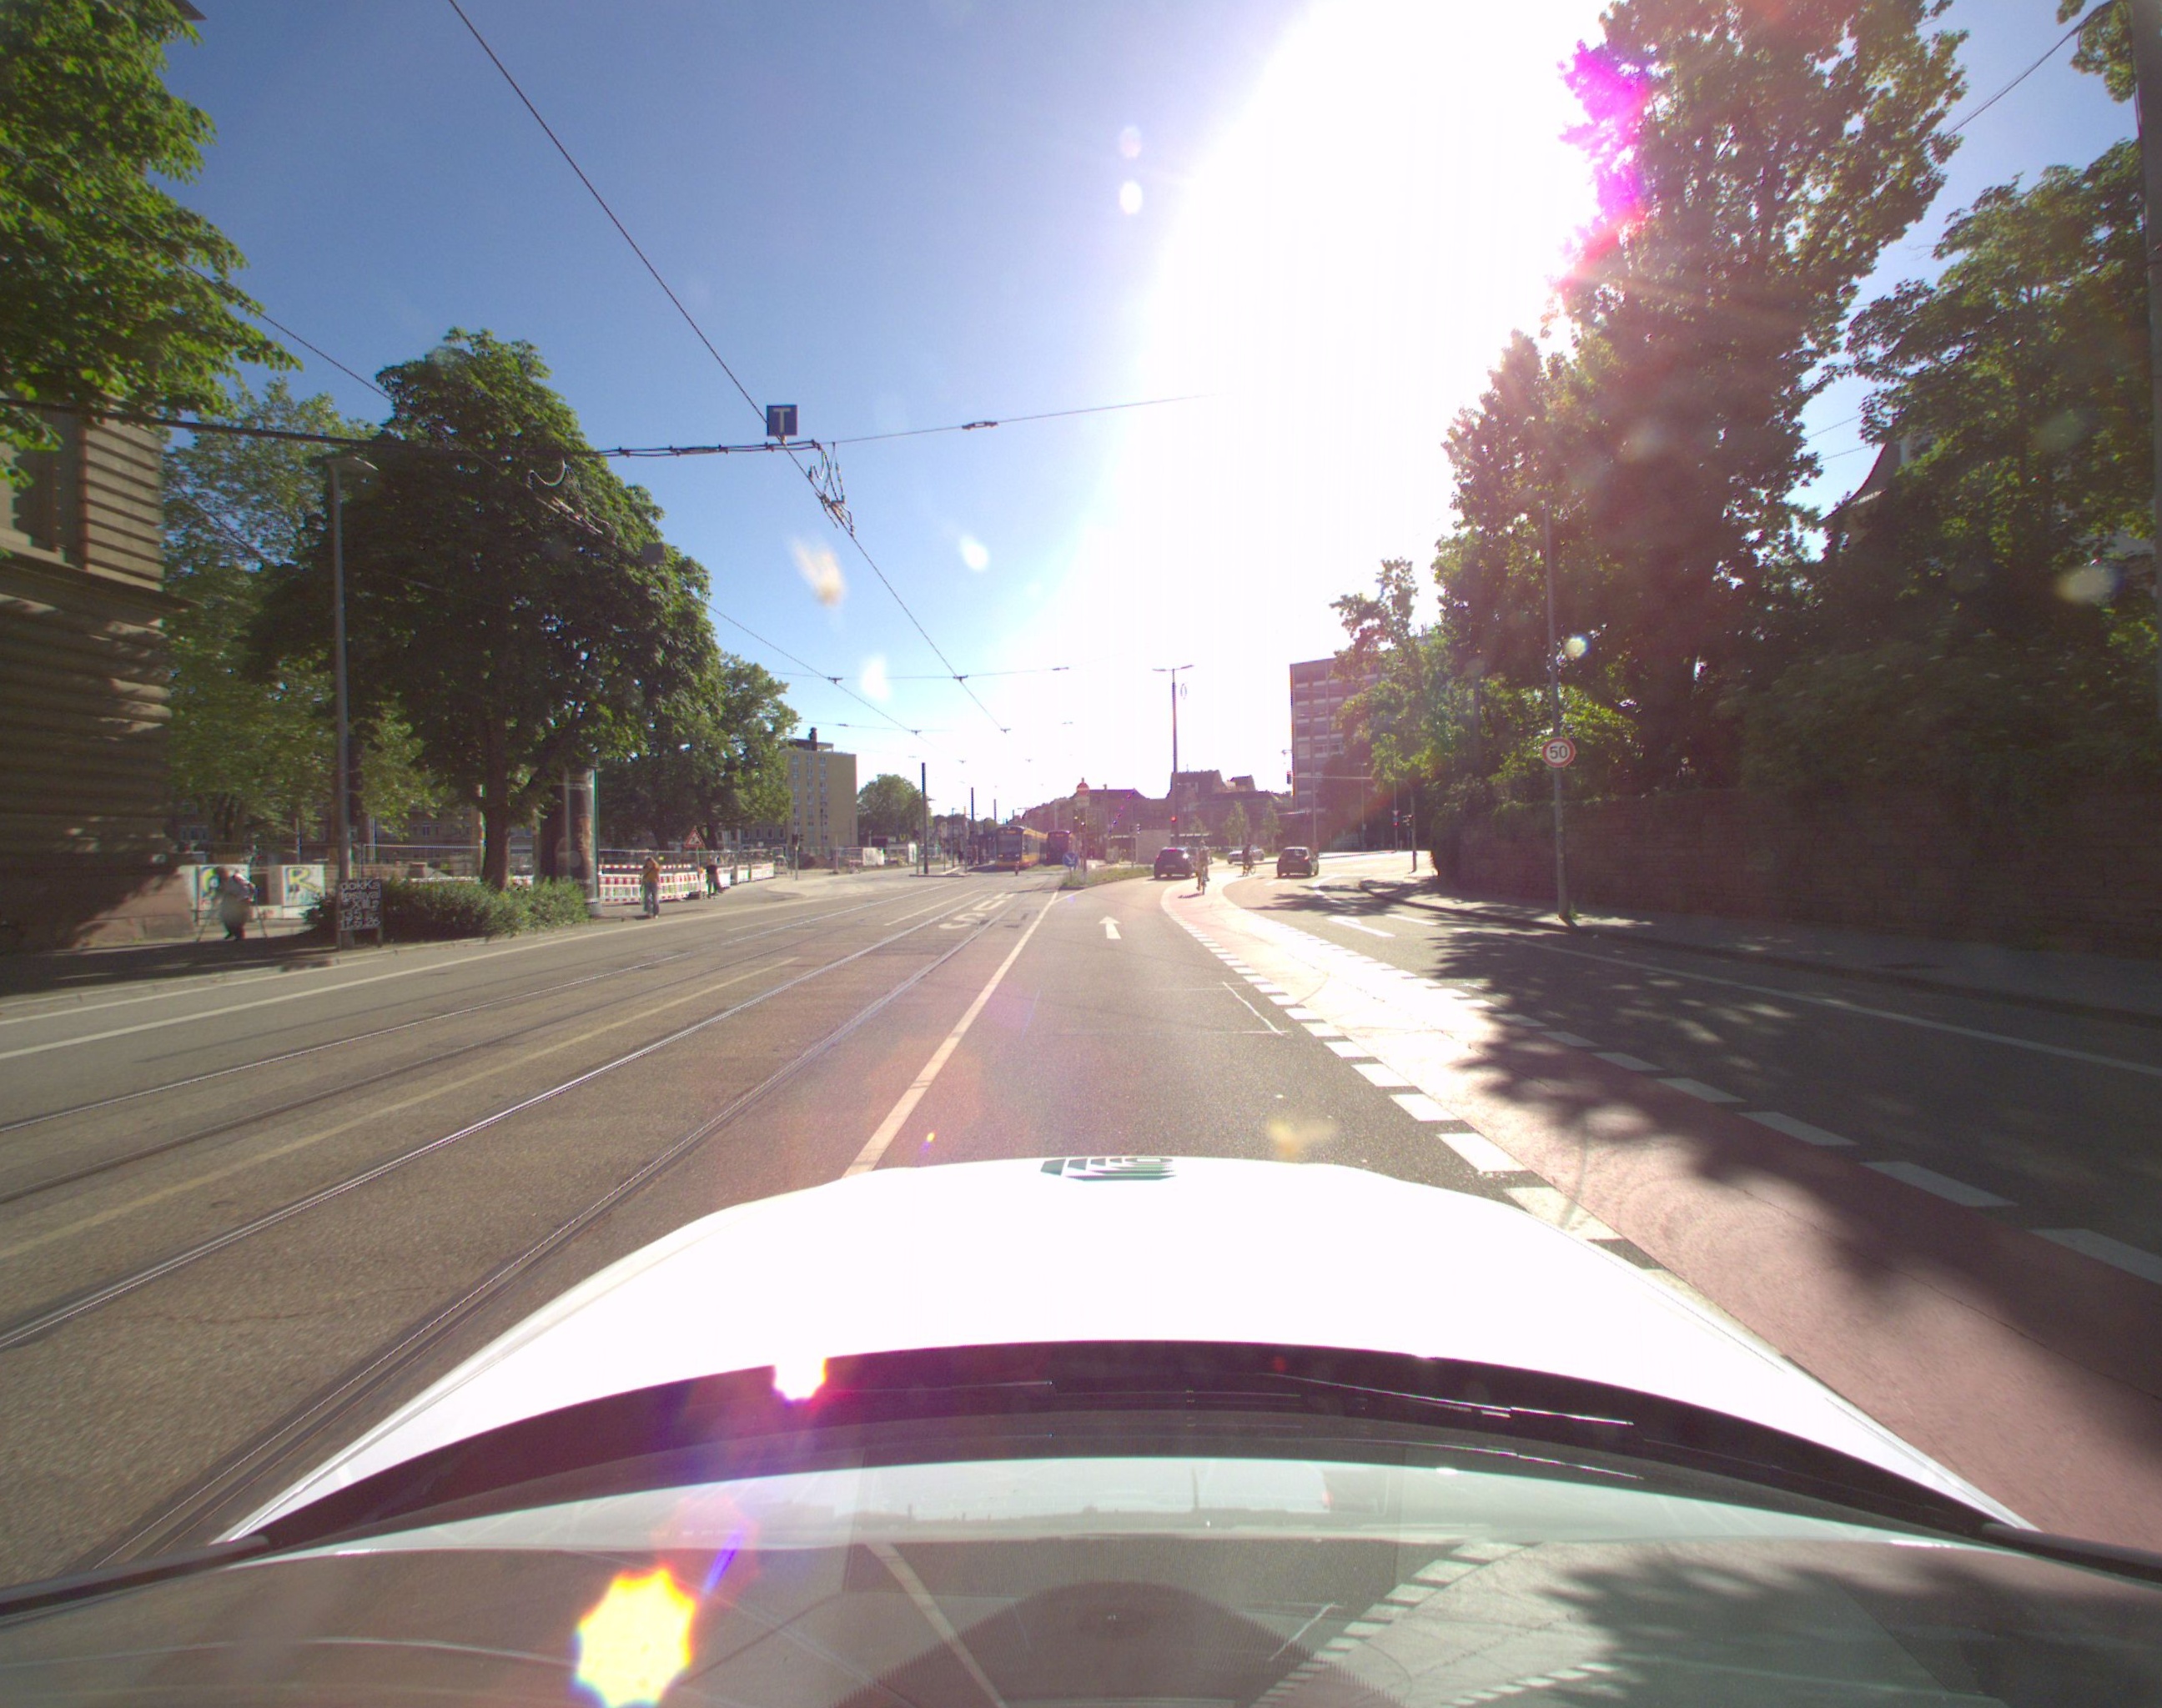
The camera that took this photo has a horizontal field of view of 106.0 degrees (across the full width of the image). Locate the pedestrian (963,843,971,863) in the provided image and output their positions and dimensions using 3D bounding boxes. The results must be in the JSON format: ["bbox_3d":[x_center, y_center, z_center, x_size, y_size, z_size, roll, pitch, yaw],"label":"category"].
[{"bbox_3d":[-10.727,-0.116,76.807,0.624,1.827,0.662,-1,0,-1],"label":"pedestrian"}]

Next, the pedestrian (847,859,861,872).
[{"bbox_3d":[-18.215,0.929,65.324,0.894,1.046,0.655,-1,0,1],"label":"pedestrian"}]

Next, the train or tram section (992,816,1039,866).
[{"bbox_3d":[-5.250,-1.065,67.495,2.733,3.651,13.783,-1,1,0],"label":"train or tram section"}]

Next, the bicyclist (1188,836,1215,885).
[{"bbox_3d":[4.236,0.226,28.563,0.699,1.675,1.107,0,1,20],"label":"bicyclist"}]

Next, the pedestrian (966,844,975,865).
[{"bbox_3d":[-9.593,0.030,70.658,0.624,1.827,0.662,-1,0,-1],"label":"pedestrian"}]

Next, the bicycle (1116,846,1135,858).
[{"bbox_3d":[4.548,-0.207,83.623,1.929,1.103,0.598,-1,1,-2],"label":"bicycle"}]

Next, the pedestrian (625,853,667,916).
[{"bbox_3d":[-12.054,0.831,22.578,0.633,1.697,0.819,-3,0,1],"label":"pedestrian"}]

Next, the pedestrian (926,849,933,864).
[{"bbox_3d":[-17.343,0.268,93.133,0.624,1.697,0.662,-1,0,-1],"label":"pedestrian"}]

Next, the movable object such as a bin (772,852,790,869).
[{"bbox_3d":[-36.344,0.806,98.665,1.926,2.013,3.970,-1,0,-22],"label":"movable object such as a bin"}]

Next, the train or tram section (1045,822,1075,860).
[{"bbox_3d":[-2.105,-1.345,85.316,2.733,3.651,13.783,-1,1,0],"label":"train or tram section"}]

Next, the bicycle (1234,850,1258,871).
[{"bbox_3d":[8.859,0.332,43.616,0.698,1.055,2.327,1,2,25],"label":"bicycle"}]

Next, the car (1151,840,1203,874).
[{"bbox_3d":[4.865,0.124,40.875,1.774,1.604,3.731,0,1,19],"label":"car"}]

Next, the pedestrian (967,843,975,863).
[{"bbox_3d":[-10.161,-0.113,75.100,0.624,1.827,0.662,-1,0,-1],"label":"pedestrian"}]

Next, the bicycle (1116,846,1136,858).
[{"bbox_3d":[4.562,-0.206,82.854,1.929,1.103,0.598,-1,1,-2],"label":"bicycle"}]

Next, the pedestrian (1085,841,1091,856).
[{"bbox_3d":[0.935,-0.660,106.217,0.660,1.953,0.626,-1,0,-12],"label":"pedestrian"}]

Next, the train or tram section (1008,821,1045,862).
[{"bbox_3d":[-5.272,-1.221,80.655,2.733,3.651,12.542,-1,1,0],"label":"train or tram section"}]

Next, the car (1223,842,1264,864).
[{"bbox_3d":[12.613,-0.068,63.028,1.685,1.643,3.736,0,1,35],"label":"car"}]

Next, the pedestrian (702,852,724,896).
[{"bbox_3d":[-14.685,0.794,32.521,0.619,1.697,0.676,-1,0,-12],"label":"pedestrian"}]

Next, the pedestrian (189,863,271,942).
[{"bbox_3d":[-17.031,0.941,16.327,0.925,1.504,0.699,-1,0,-26],"label":"pedestrian"}]

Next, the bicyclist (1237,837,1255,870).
[{"bbox_3d":[8.804,-0.044,43.480,0.698,1.700,0.993,1,1,25],"label":"bicyclist"}]

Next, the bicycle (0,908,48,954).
[{"bbox_3d":[-18.244,1.313,13.362,0.479,0.724,1.620,-1,0,2],"label":"bicycle"}]

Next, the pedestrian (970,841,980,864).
[{"bbox_3d":[-8.508,-0.102,65.465,0.624,1.827,0.662,-1,0,-1],"label":"pedestrian"}]

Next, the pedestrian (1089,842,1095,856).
[{"bbox_3d":[1.489,-0.672,108.273,0.660,1.953,0.626,-1,0,-12],"label":"pedestrian"}]

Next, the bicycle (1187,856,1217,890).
[{"bbox_3d":[4.248,0.651,28.602,0.699,1.104,1.726,1,1,20],"label":"bicycle"}]

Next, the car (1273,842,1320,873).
[{"bbox_3d":[11.170,0.156,42.050,1.773,1.511,3.733,0,1,23],"label":"car"}]
